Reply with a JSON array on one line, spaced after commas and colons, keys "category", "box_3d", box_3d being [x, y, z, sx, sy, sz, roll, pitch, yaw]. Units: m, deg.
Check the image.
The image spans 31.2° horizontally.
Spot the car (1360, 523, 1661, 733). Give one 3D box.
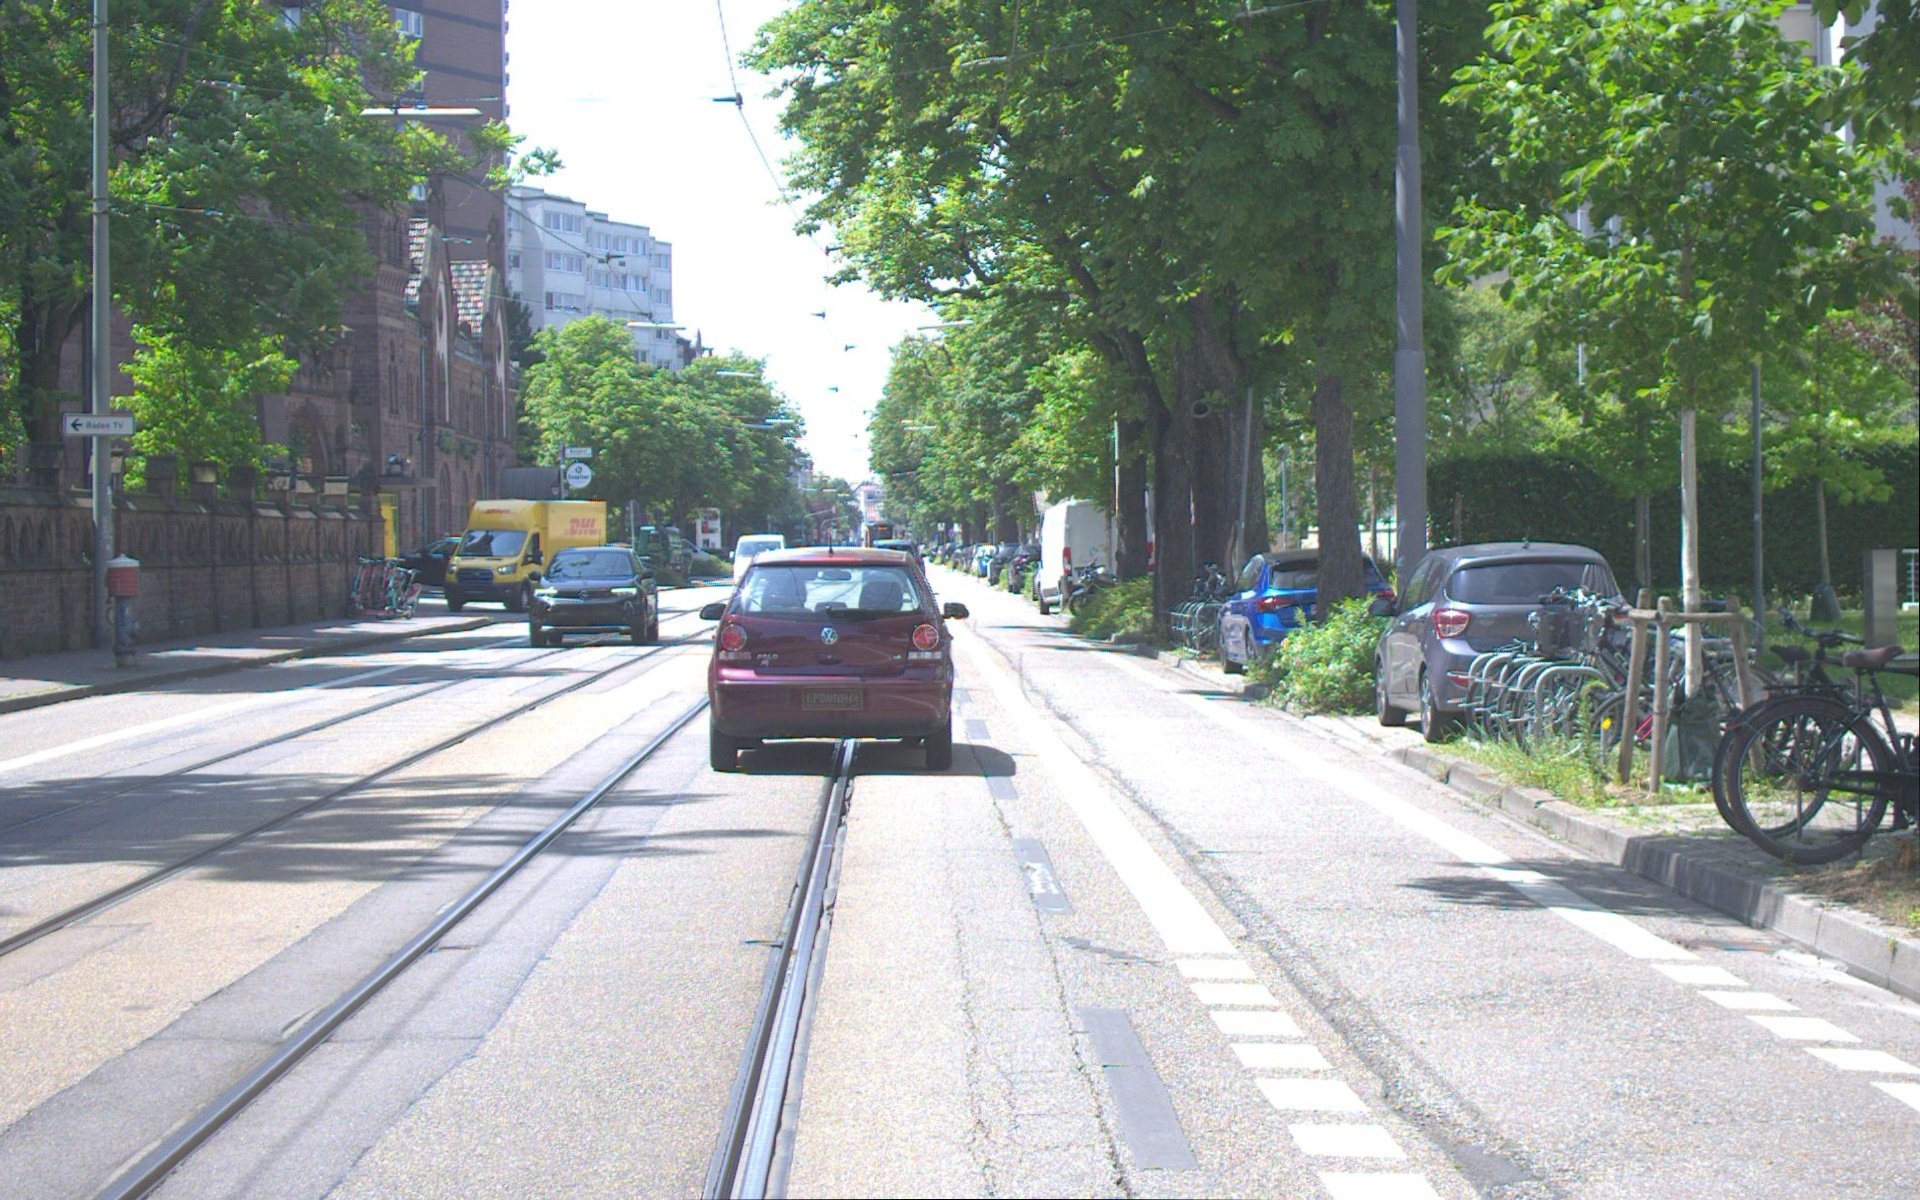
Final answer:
[{"category": "car", "box_3d": [4.306, 0.169, 27.372, 1.688, 1.497, 3.628, -2, 1, -1]}]

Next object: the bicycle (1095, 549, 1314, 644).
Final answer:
[{"category": "bicycle", "box_3d": [3.527, -0.053, 49.720, 3.069, 1.308, 0.782, 1, 1, -3]}]

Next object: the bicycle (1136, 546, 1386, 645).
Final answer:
[{"category": "bicycle", "box_3d": [4.181, -0.069, 47.839, 3.367, 1.308, 0.782, 1, 1, -3]}]

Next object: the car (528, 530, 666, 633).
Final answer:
[{"category": "car", "box_3d": [-5.626, -0.321, 53.622, 1.770, 1.510, 4.000, -1, 1, -1]}]

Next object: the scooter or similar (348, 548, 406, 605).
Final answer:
[{"category": "scooter or similar", "box_3d": [-11.986, -0.488, 70.696, 1.088, 1.151, 0.527, 0, 1, -22]}]

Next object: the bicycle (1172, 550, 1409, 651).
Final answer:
[{"category": "bicycle", "box_3d": [4.439, 0.003, 46.299, 3.069, 1.308, 0.782, 1, 1, -3]}]

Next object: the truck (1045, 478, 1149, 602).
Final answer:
[{"category": "truck", "box_3d": [3.034, -1.365, 76.884, 1.993, 2.652, 4.876, 1, 1, -1]}]

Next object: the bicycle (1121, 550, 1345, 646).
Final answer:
[{"category": "bicycle", "box_3d": [3.864, -0.032, 48.749, 3.069, 1.308, 0.782, 1, 1, -3]}]

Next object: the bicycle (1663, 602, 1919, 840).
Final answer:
[{"category": "bicycle", "box_3d": [4.324, 0.559, 16.316, 1.825, 1.081, 0.718, -1, 0, 3]}]

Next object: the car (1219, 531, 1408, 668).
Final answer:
[{"category": "car", "box_3d": [4.022, -0.045, 39.595, 1.688, 1.463, 3.880, -1, 1, -1]}]

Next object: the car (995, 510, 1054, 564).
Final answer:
[{"category": "car", "box_3d": [2.016, -2.000, 108.394, 1.674, 1.650, 4.001, 1, 2, -1]}]

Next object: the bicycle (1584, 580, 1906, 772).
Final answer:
[{"category": "bicycle", "box_3d": [4.581, 0.438, 20.114, 1.751, 1.081, 0.548, -1, 1, -1]}]

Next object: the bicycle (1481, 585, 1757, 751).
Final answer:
[{"category": "bicycle", "box_3d": [4.453, 0.457, 23.287, 1.751, 1.081, 0.548, -1, 1, -1]}]

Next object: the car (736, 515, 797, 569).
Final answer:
[{"category": "car", "box_3d": [-6.857, -2.069, 122.151, 1.993, 1.848, 4.682, -1, 1, -1]}]

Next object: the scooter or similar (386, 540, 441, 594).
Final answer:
[{"category": "scooter or similar", "box_3d": [-11.850, -0.725, 74.557, 1.088, 1.151, 0.527, 0, 1, -22]}]

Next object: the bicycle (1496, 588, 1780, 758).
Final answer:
[{"category": "bicycle", "box_3d": [4.456, 0.474, 22.639, 1.751, 1.081, 0.548, -1, 1, -1]}]

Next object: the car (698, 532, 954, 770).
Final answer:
[{"category": "car", "box_3d": [-0.915, 0.284, 23.962, 1.619, 1.481, 4.001, -1, 1, -2]}]

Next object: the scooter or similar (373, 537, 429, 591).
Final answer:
[{"category": "scooter or similar", "box_3d": [-12.016, -0.769, 73.885, 1.088, 1.151, 0.527, 0, 1, -22]}]

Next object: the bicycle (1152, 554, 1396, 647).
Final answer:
[{"category": "bicycle", "box_3d": [4.088, -0.002, 44.851, 3.069, 1.150, 0.782, 1, 1, -3]}]

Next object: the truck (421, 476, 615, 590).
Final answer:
[{"category": "truck", "box_3d": [-11.264, -1.737, 88.308, 2.371, 2.777, 7.315, 0, 1, 15]}]

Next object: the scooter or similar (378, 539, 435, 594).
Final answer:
[{"category": "scooter or similar", "box_3d": [-11.801, -0.720, 73.298, 1.088, 1.151, 0.527, 0, 1, -22]}]

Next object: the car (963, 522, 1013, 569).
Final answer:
[{"category": "car", "box_3d": [1.021, -1.997, 125.663, 1.674, 1.650, 4.001, 1, 2, -1]}]

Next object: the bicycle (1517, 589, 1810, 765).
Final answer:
[{"category": "bicycle", "box_3d": [4.498, 0.484, 22.030, 1.751, 1.081, 0.548, -1, 1, -1]}]

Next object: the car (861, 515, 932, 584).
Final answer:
[{"category": "car", "box_3d": [-1.944, -1.557, 104.561, 1.993, 2.007, 4.001, 1, 2, -3]}]

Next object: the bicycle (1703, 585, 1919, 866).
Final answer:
[{"category": "bicycle", "box_3d": [4.289, 0.527, 15.082, 1.883, 1.178, 0.694, -1, 1, -1]}]

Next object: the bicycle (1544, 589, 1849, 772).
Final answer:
[{"category": "bicycle", "box_3d": [4.535, 0.488, 21.213, 1.751, 1.081, 0.548, -1, 1, -1]}]
